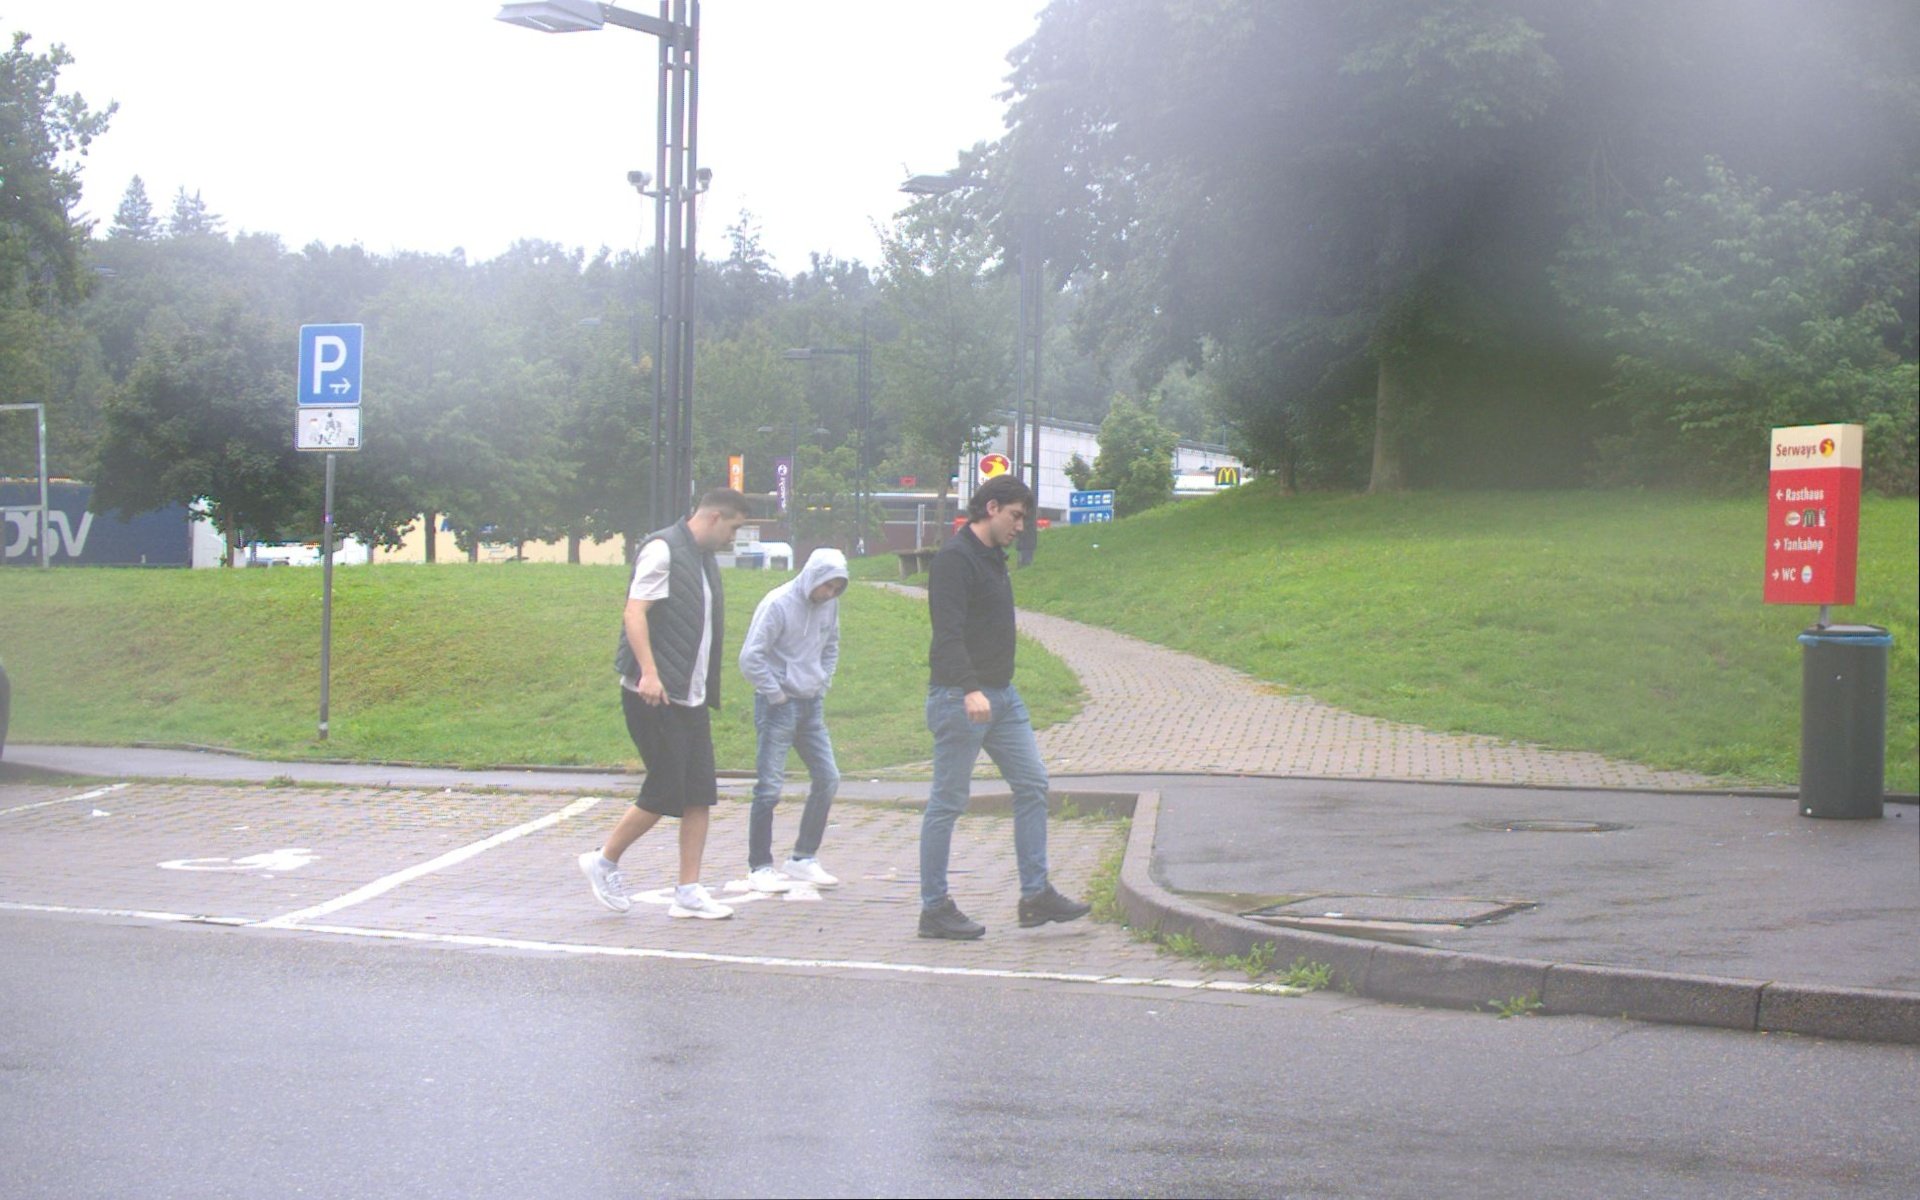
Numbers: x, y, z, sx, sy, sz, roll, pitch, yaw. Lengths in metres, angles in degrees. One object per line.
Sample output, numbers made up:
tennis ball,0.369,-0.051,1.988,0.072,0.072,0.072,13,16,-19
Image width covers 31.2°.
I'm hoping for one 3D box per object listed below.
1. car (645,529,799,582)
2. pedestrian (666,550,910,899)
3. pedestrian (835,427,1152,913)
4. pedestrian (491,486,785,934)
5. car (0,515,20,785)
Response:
car,-9.253,-1.737,133.773,5.429,2.007,2.453,1,1,20
pedestrian,-0.784,0.548,15.763,0.890,1.544,0.659,0,1,29
pedestrian,0.140,0.258,13.734,1.000,1.858,0.798,0,1,28
pedestrian,-1.373,0.444,14.710,0.974,1.842,0.772,0,1,28
car,-7.764,0.376,21.445,1.885,1.821,4.411,0,1,11
